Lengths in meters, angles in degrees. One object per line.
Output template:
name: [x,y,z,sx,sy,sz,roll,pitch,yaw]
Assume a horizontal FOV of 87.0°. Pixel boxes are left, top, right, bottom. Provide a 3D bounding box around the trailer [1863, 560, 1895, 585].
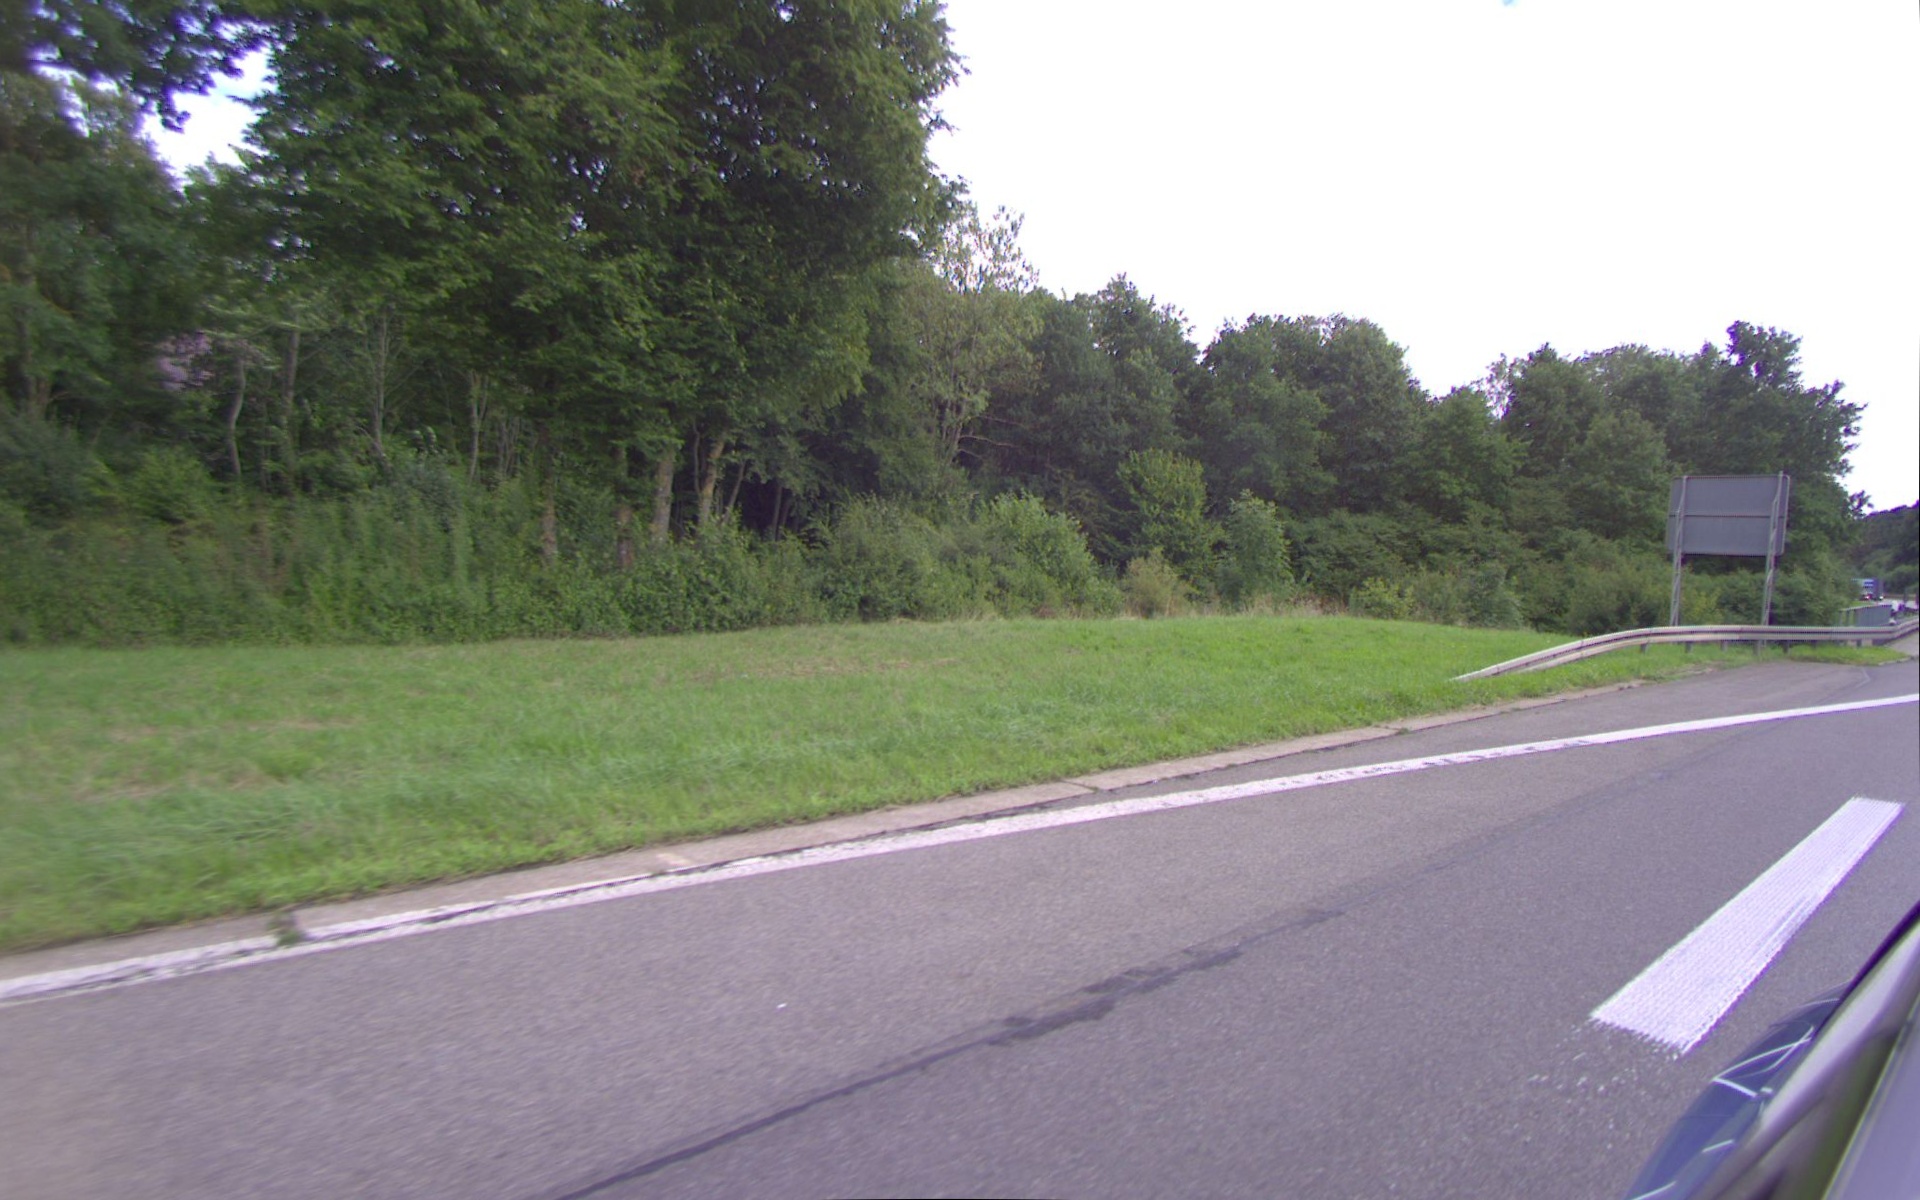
trailer: [154.028,-4.633,169.738,2.772,4.004,11.149,1,2,36]
